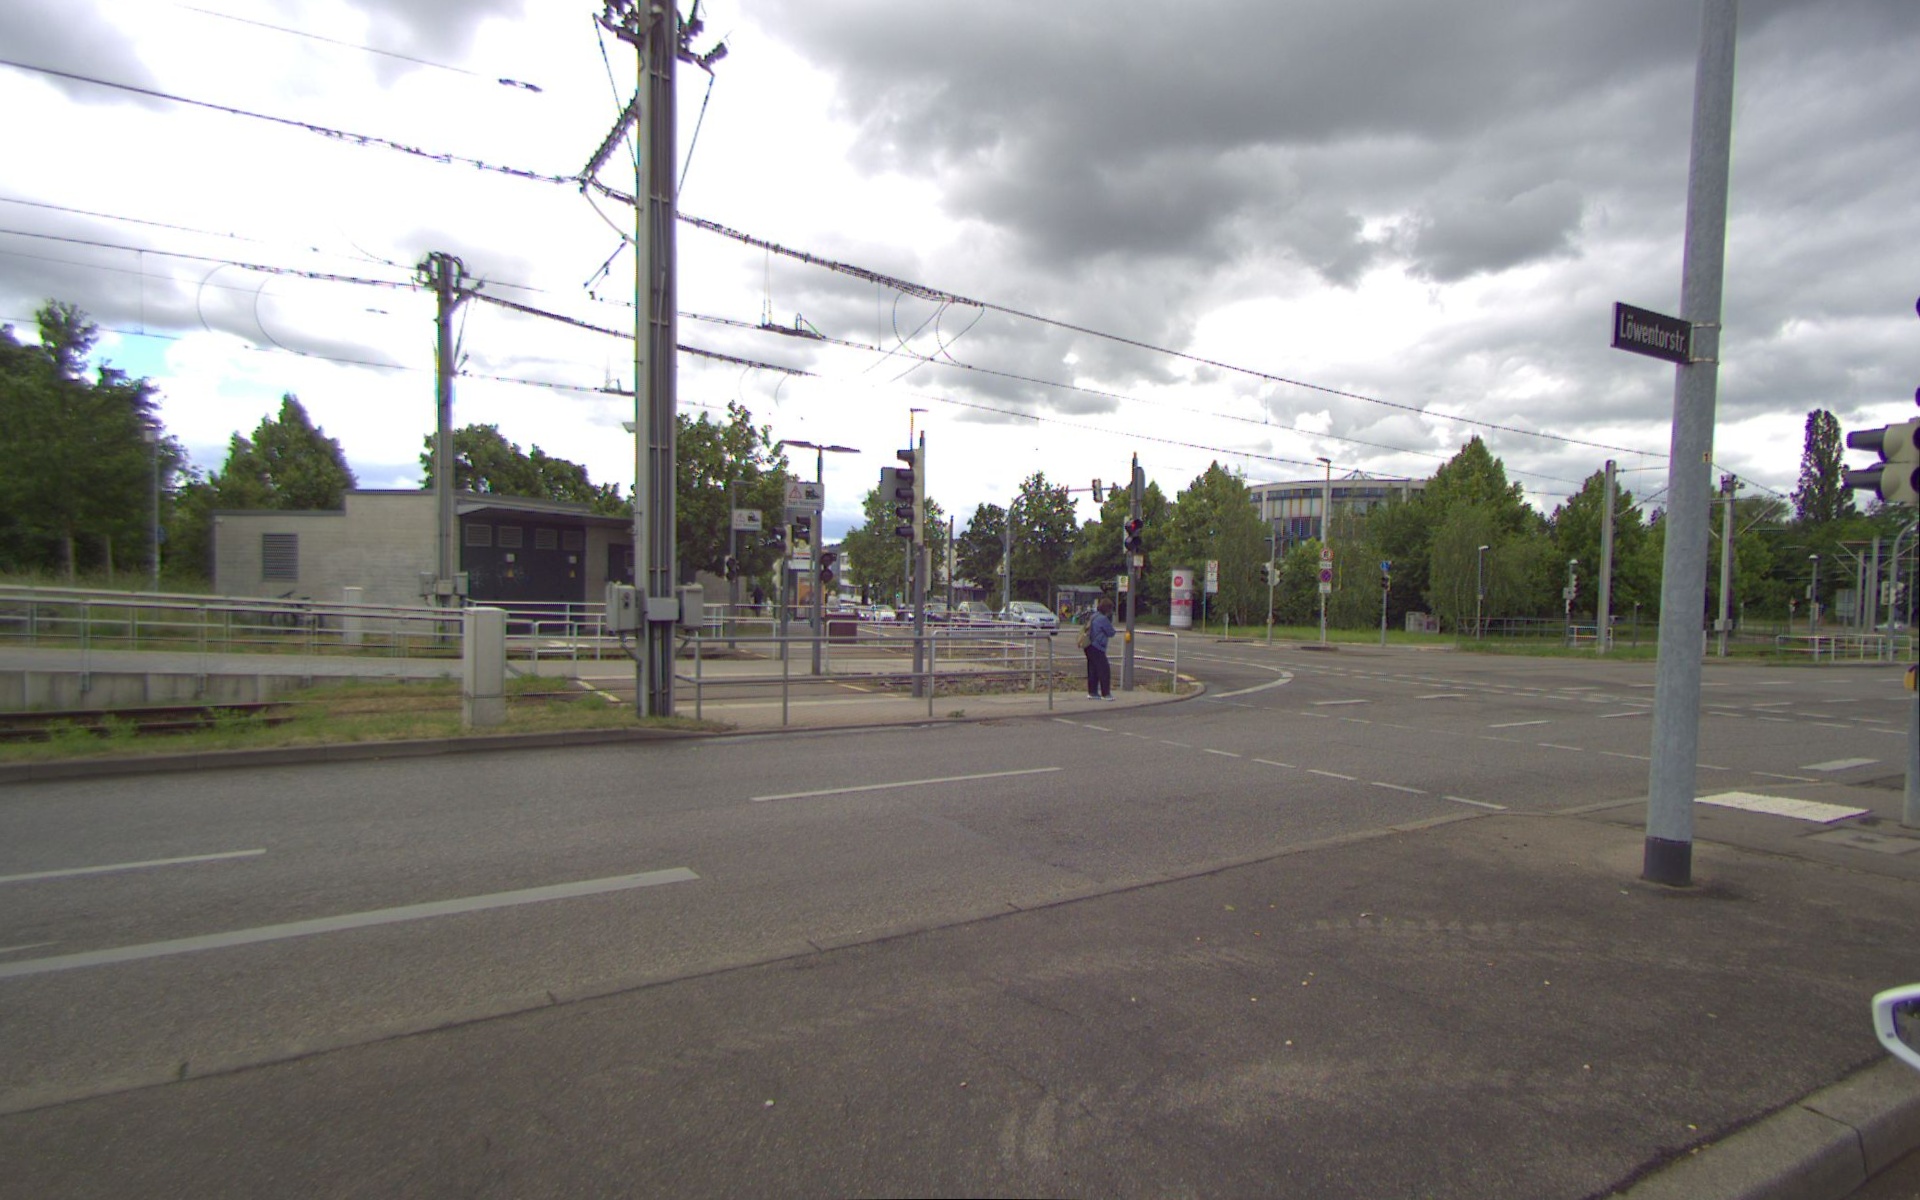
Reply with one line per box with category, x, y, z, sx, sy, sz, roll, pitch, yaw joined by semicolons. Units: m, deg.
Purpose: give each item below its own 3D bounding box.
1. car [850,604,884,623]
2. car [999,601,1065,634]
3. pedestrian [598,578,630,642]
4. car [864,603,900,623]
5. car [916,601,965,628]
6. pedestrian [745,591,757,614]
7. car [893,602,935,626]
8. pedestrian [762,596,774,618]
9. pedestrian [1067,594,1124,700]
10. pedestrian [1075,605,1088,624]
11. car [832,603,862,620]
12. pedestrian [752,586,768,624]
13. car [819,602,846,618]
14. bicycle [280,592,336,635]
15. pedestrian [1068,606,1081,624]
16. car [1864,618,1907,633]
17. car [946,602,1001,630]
car;-7.413;1.024;79.689;1.706;1.456;3.991;1;0;-20
car;3.305;0.801;46.813;1.706;1.456;3.731;1;0;-20
pedestrian;-8.958;0.264;25.983;0.697;1.628;0.653;1;0;-27
car;-5.808;0.964;74.786;1.706;1.456;3.731;1;0;-20
car;-1.146;0.818;58.169;1.706;1.456;3.731;1;0;-20
pedestrian;-15.782;0.187;75.884;0.771;1.649;0.660;1;0;-22
car;-3.000;0.890;64.935;1.706;1.456;3.731;1;0;-20
pedestrian;-14.459;0.524;75.696;0.695;1.649;0.629;1;0;-24
pedestrian;2.084;0.703;15.443;0.701;1.584;0.533;1;1;-44
pedestrian;8.685;1.057;71.576;0.652;1.322;0.780;1;0;-16
car;-9.764;0.988;86.720;1.706;1.456;3.731;1;0;-20
pedestrian;-10.584;0.265;53.200;0.738;1.993;0.795;1;0;-9
car;-11.926;0.963;94.077;1.706;1.456;3.731;1;0;-20
bicycle;-17.324;0.347;26.682;1.452;1.101;0.492;1;0;22
pedestrian;8.326;1.082;72.924;0.652;1.321;0.780;1;0;-16
car;113.584;3.092;123.345;1.959;1.706;4.002;2;0;9
car;0.693;0.845;53.673;1.706;1.456;3.731;1;0;-20
